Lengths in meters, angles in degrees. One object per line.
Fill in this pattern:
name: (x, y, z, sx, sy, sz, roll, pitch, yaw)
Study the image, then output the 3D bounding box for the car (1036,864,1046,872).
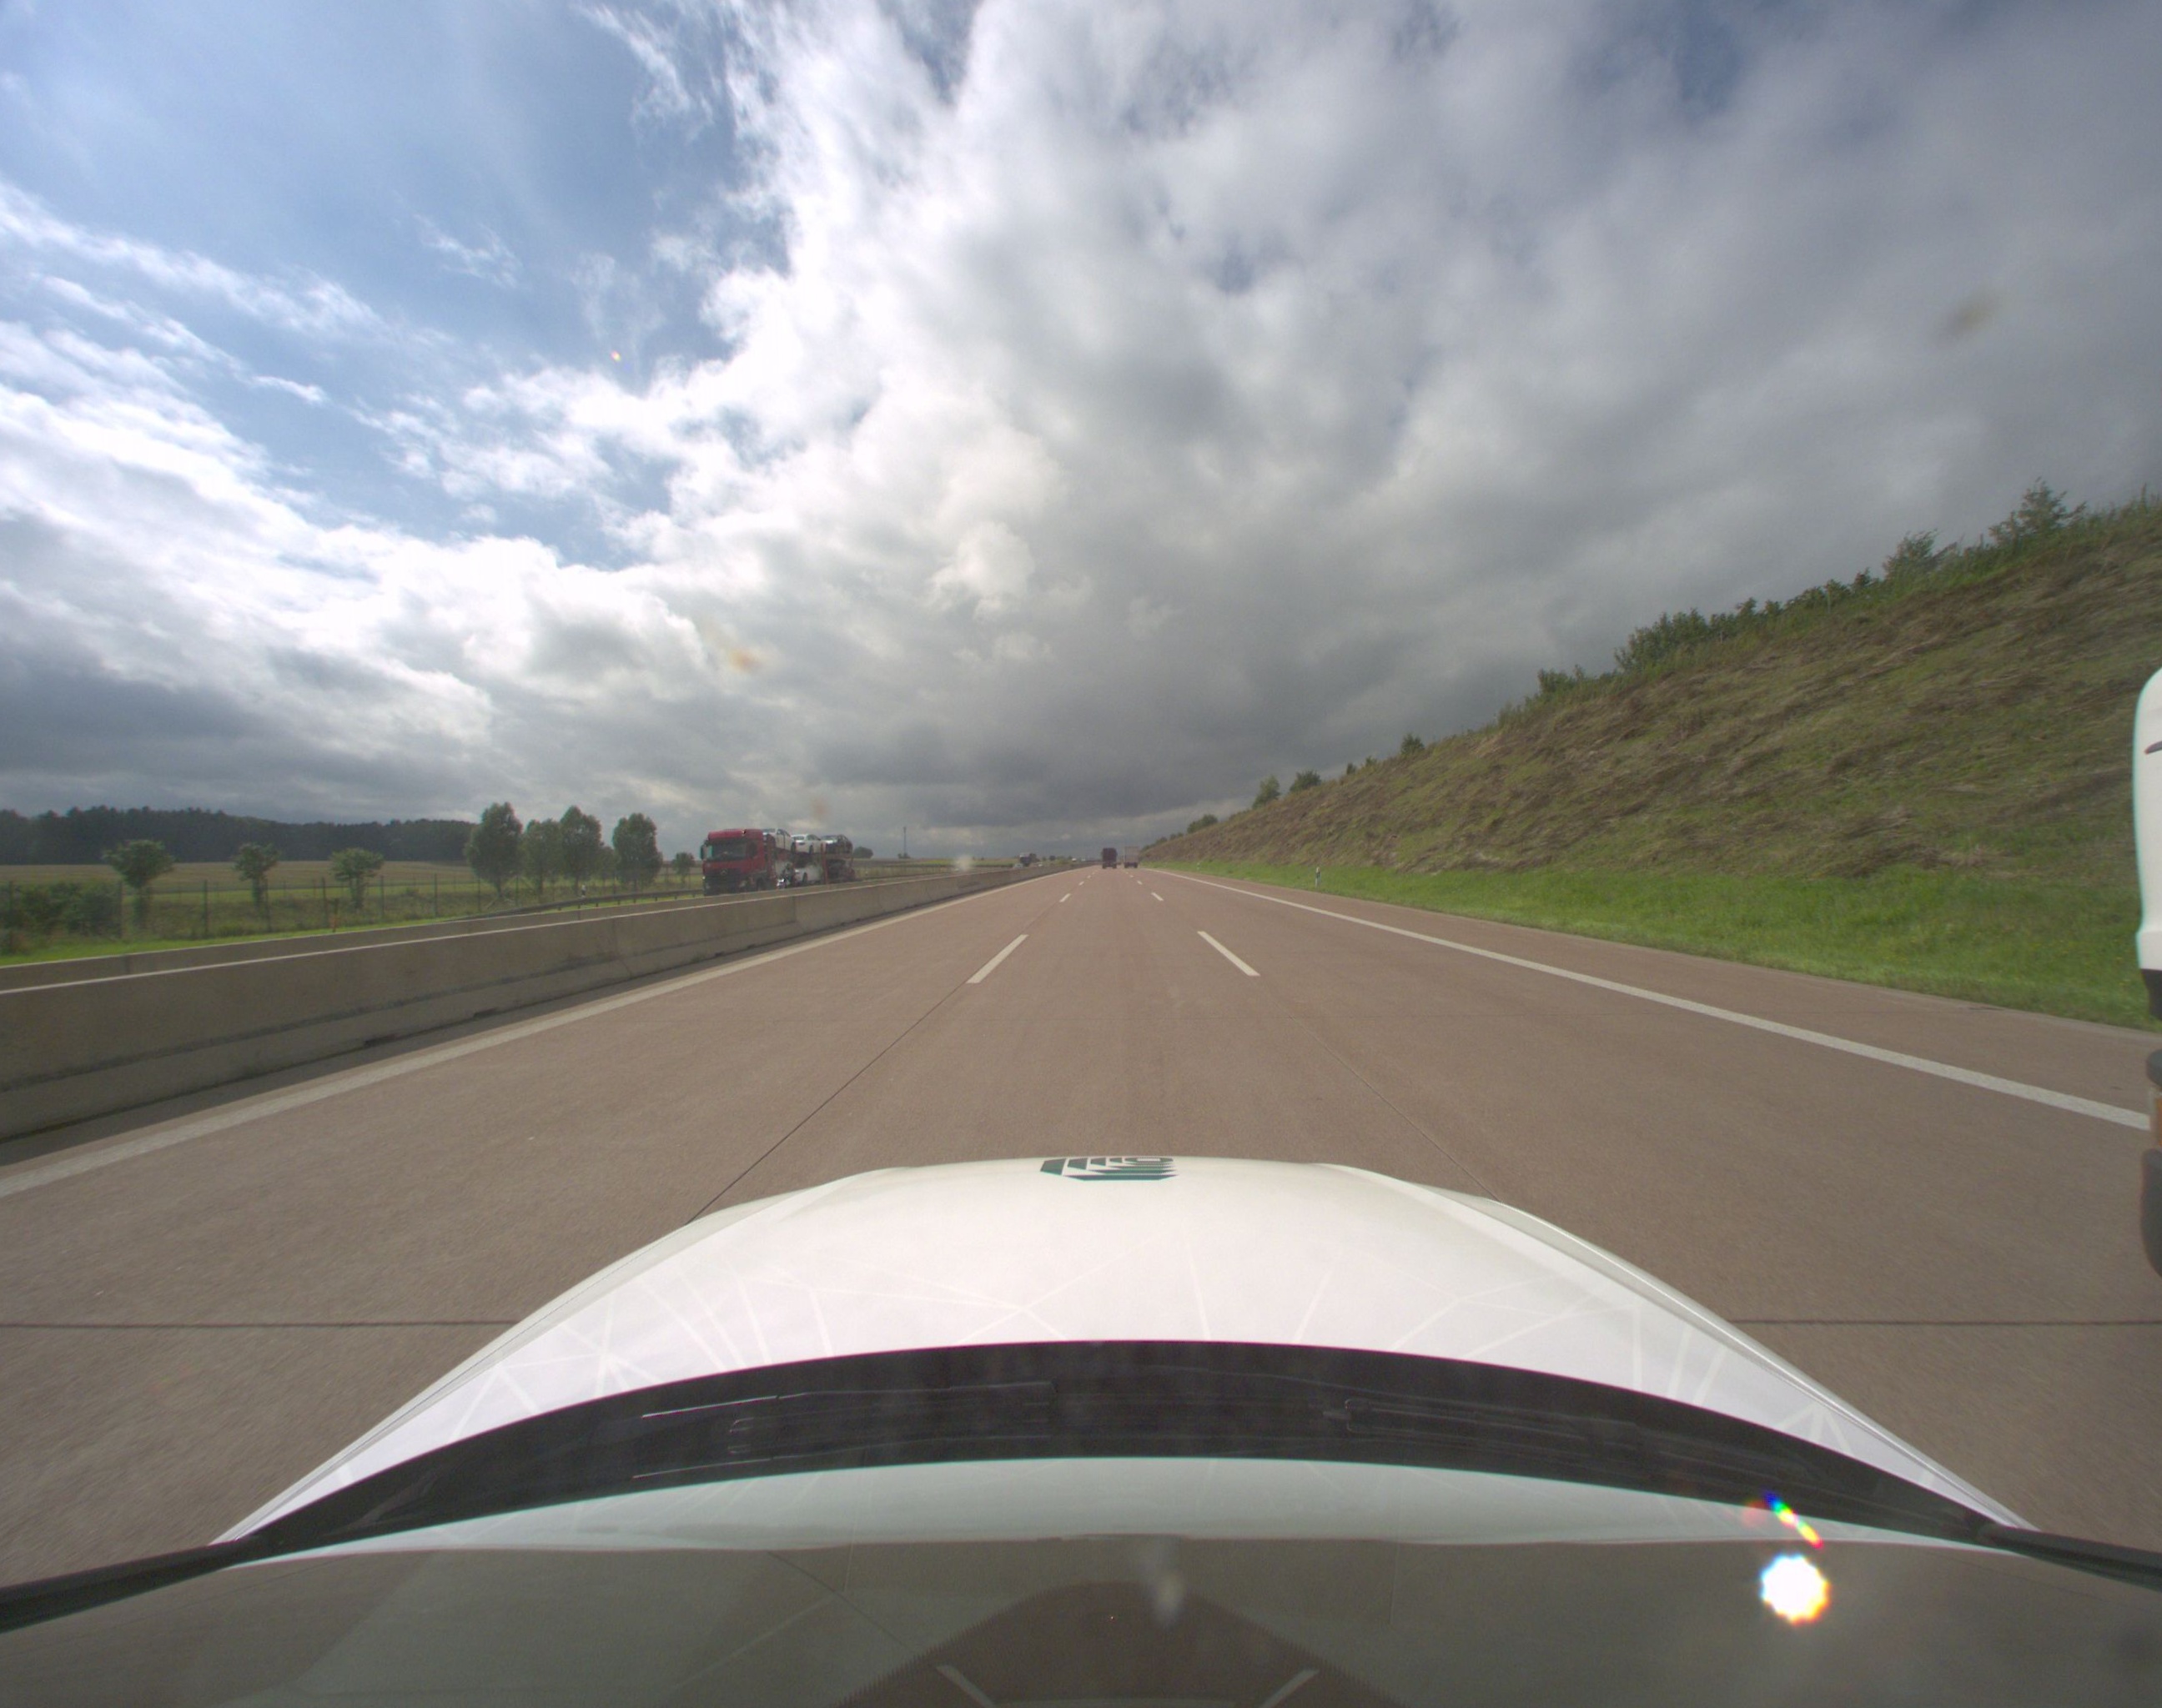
car: (-11.154, 3.892, 227.663, 2.051, 1.846, 5.730, -2, 0, 2)

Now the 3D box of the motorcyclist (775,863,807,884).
motorcyclist: (-13.724, 0.917, 38.530, 1.180, 0.948, 0.840, 0, 0, 2)

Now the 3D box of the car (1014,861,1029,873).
car: (-10.225, 2.229, 139.814, 1.978, 2.014, 5.053, 0, -1, 2)

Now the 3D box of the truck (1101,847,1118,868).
truck: (4.965, 0.710, 142.803, 2.838, 3.550, 8.318, -1, -1, 0)

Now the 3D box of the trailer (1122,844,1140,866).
trailer: (9.324, 0.299, 151.871, 2.738, 4.012, 8.669, -1, -1, 0)

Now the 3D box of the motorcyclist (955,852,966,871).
motorcyclist: (-12.231, 0.739, 82.516, 1.005, 1.861, 0.744, 0, -1, 3)

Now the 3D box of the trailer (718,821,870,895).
trailer: (-17.571, 0.261, 52.071, 3.181, 3.978, 16.336, 0, 0, 3)

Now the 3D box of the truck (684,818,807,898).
truck: (-17.950, 0.224, 44.300, 3.181, 3.978, 7.735, 0, 0, 3)

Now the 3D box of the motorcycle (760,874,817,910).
motorcycle: (-13.725, 1.753, 38.397, 1.548, 1.542, 2.843, 0, 0, 2)

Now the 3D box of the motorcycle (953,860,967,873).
motorcycle: (-12.237, 1.241, 82.553, 0.923, 1.303, 2.344, 0, 0, 3)
